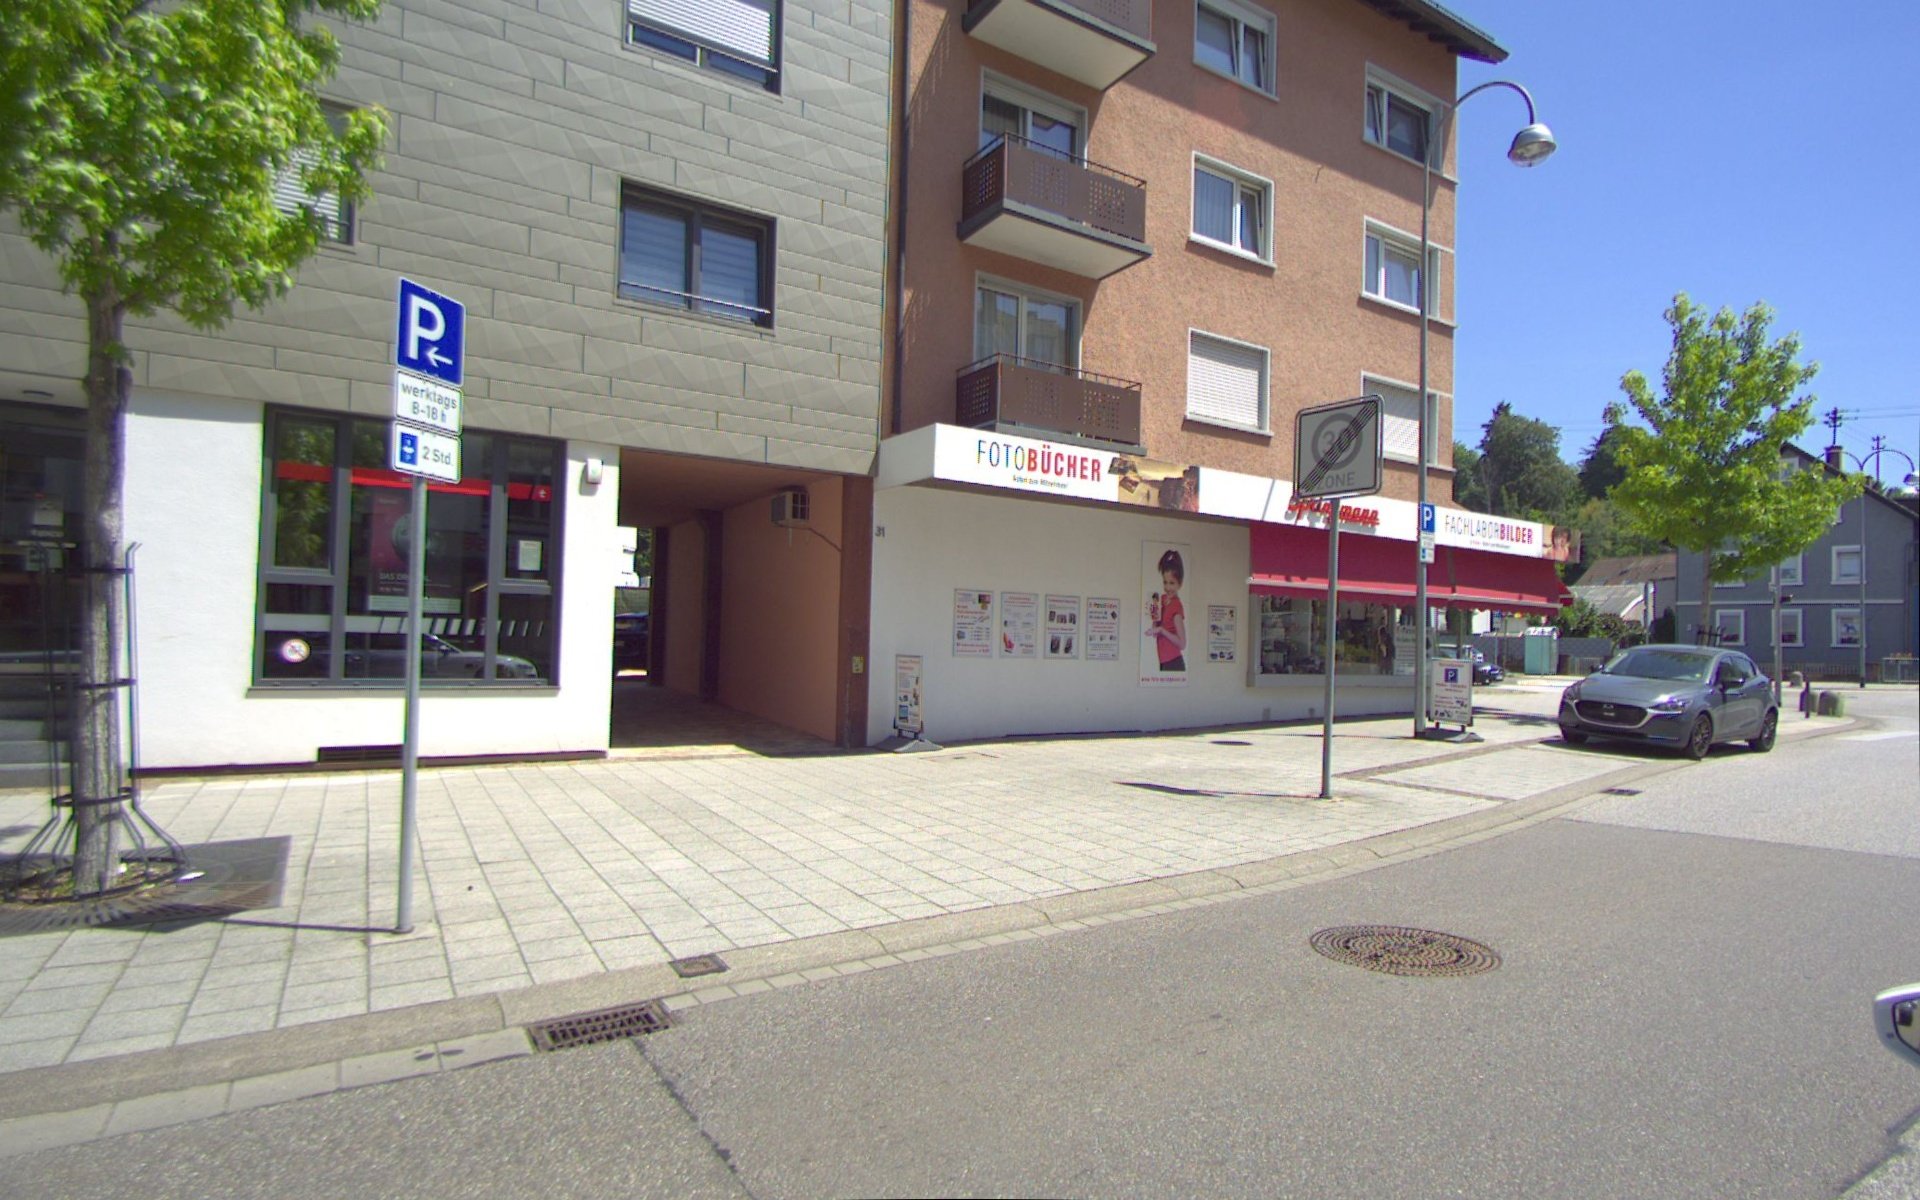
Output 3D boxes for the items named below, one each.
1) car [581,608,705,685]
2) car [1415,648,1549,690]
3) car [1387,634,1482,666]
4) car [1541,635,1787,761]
[{"bbox_3d":[-7.689,1.124,24.760,1.961,1.706,3.999,1,-2,-3],"label":"car"},{"bbox_3d":[20.516,2.689,39.588,4.378,1.476,1.758,-1,-3,45],"label":"car"},{"bbox_3d":[23.701,2.481,50.209,4.020,1.410,1.600,0,1,42],"label":"car"},{"bbox_3d":[10.322,1.334,14.642,4.021,1.506,1.655,2,1,-36],"label":"car"}]
